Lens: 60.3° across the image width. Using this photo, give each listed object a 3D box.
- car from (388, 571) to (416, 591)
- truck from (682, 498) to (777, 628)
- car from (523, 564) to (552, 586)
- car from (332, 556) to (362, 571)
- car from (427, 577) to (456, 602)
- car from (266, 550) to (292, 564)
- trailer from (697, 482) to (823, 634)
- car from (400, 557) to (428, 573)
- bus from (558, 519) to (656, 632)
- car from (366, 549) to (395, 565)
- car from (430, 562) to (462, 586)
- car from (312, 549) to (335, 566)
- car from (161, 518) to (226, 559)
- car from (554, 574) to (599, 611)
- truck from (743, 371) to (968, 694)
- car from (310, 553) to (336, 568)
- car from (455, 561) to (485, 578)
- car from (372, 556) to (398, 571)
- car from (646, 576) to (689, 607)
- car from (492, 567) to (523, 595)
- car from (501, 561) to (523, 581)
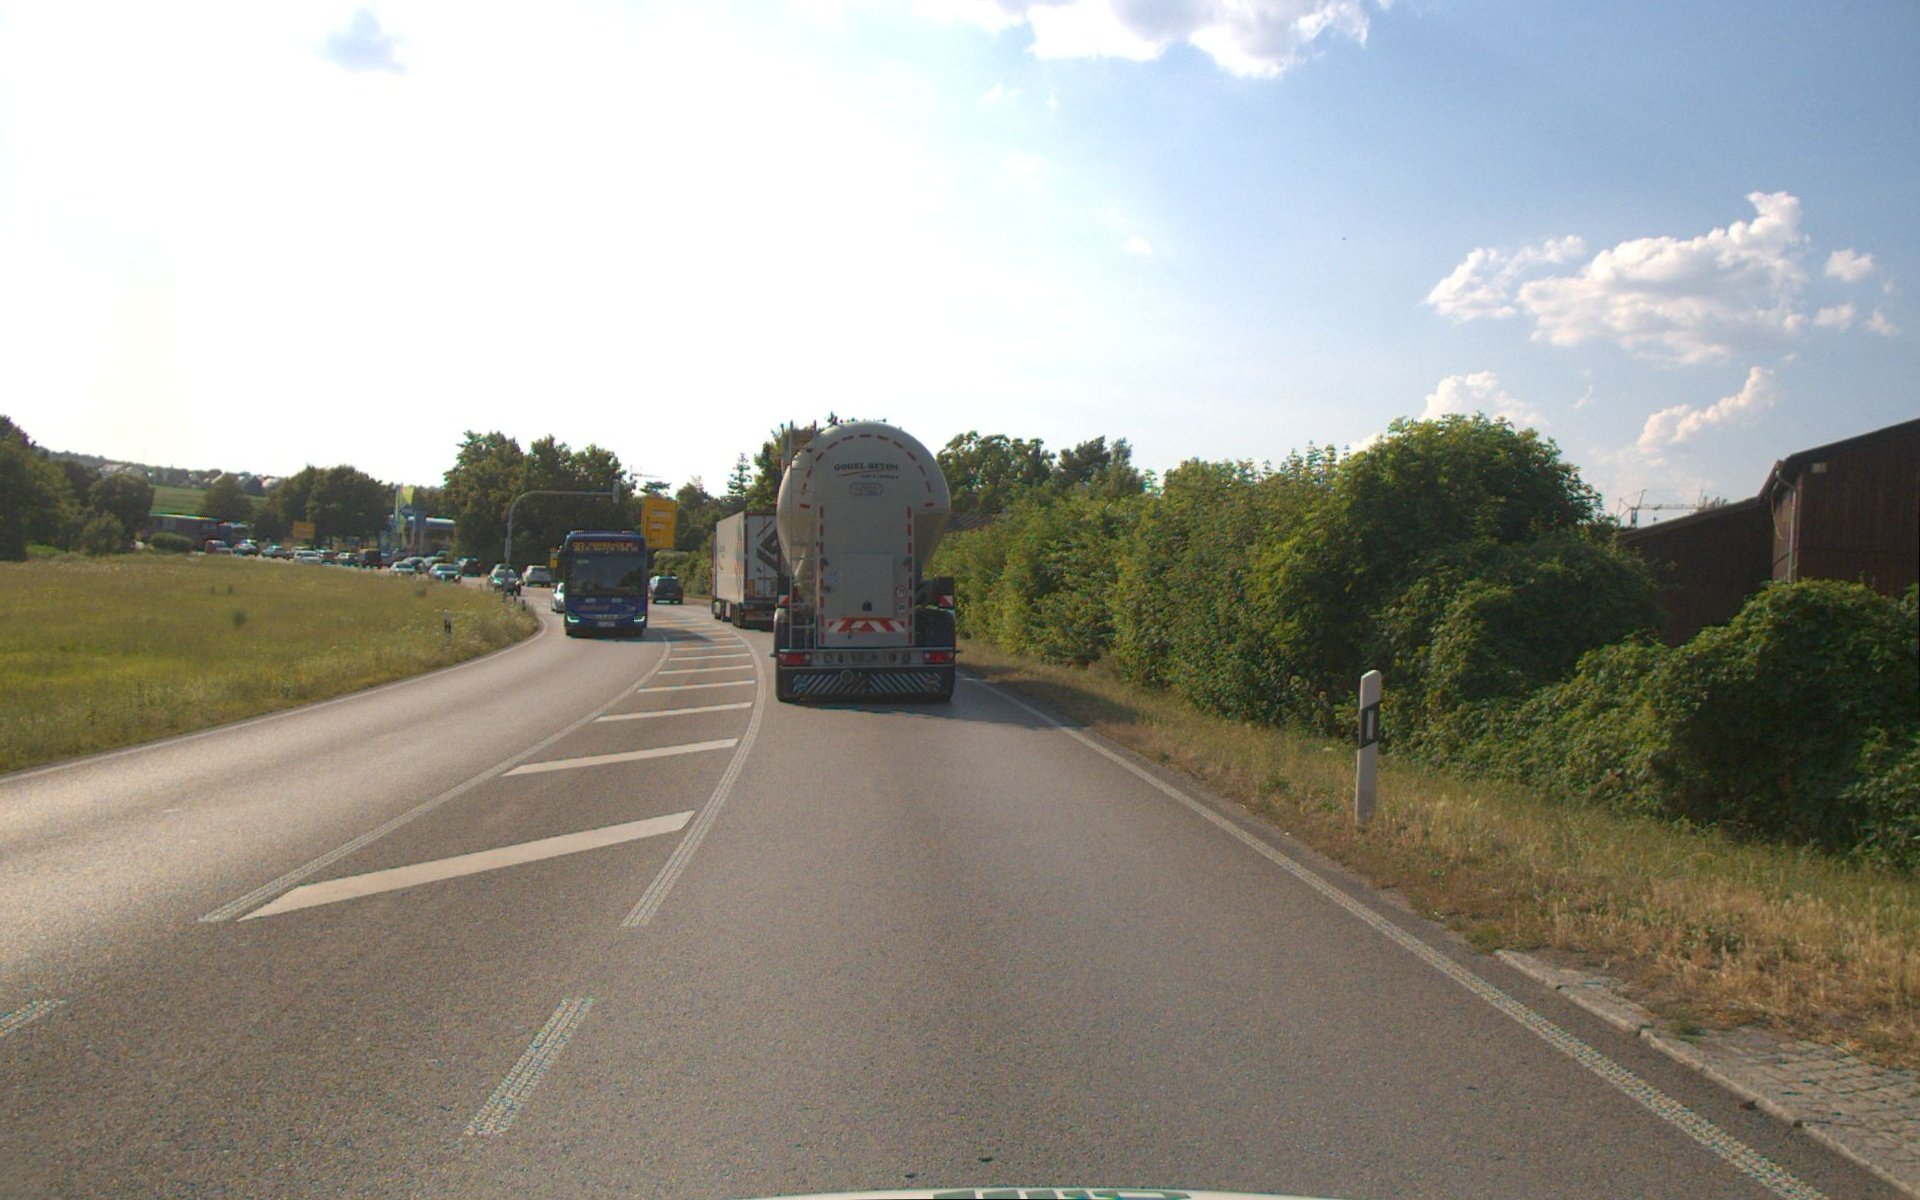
[{"bbox_3d":[-48.578,-1.661,143.916,1.819,1.685,3.966,1,-1,-26],"label":"car"},{"bbox_3d":[-9.458,-1.398,67.308,2.914,4.972,6.403,1,-1,-15],"label":"truck"},{"bbox_3d":[-34.178,-2.022,133.713,1.815,1.685,3.974,1,-1,-21],"label":"car"},{"bbox_3d":[-68.240,-4.069,184.150,2.069,1.627,3.949,1,1,-37],"label":"car"},{"bbox_3d":[-34.399,-0.704,109.718,1.667,1.580,4.134,1,-1,-16],"label":"car"},{"bbox_3d":[-82.495,-5.214,200.328,1.870,1.627,3.943,1,1,-39],"label":"car"},{"bbox_3d":[-7.419,-1.356,60.043,2.916,4.967,10.243,1,-1,-16],"label":"trailer"},{"bbox_3d":[-55.087,-3.534,166.744,2.061,1.627,3.963,1,1,-28],"label":"car"},{"bbox_3d":[-11.594,-0.669,54.338,2.745,3.237,12.088,1,-1,-12],"label":"bus"},{"bbox_3d":[-61.128,-4.517,174.486,2.066,1.627,3.955,1,1,-33],"label":"car"},{"bbox_3d":[-39.468,-1.984,127.081,1.959,1.755,4.413,1,1,-12],"label":"car"},{"bbox_3d":[-66.830,-4.465,173.675,1.820,1.685,3.964,2,-1,-27],"label":"car"},{"bbox_3d":[-100.542,-8.078,216.845,3.526,5.147,13.027,1,1,-44],"label":"car"},{"bbox_3d":[-18.218,-0.320,78.500,1.812,1.685,3.981,1,-1,-17],"label":"car"},{"bbox_3d":[-1.893,-0.842,27.922,2.918,4.248,11.649,1,-1,-5],"label":"truck"},{"bbox_3d":[-72.907,-4.494,189.269,1.867,1.627,3.950,1,1,-36],"label":"car"},{"bbox_3d":[-47.910,-2.995,161.805,2.061,1.627,3.963,1,1,-28],"label":"car"},{"bbox_3d":[-64.464,-4.079,185.378,1.864,1.627,3.956,1,1,-32],"label":"car"},{"bbox_3d":[-16.943,-0.464,95.707,1.962,1.685,3.980,1,-1,-18],"label":"car"},{"bbox_3d":[-29.179,-1.195,106.563,1.811,1.685,3.982,1,-1,-16],"label":"car"},{"bbox_3d":[-39.808,-2.566,146.988,1.498,1.685,3.848,1,-1,-21],"label":"car"}]
